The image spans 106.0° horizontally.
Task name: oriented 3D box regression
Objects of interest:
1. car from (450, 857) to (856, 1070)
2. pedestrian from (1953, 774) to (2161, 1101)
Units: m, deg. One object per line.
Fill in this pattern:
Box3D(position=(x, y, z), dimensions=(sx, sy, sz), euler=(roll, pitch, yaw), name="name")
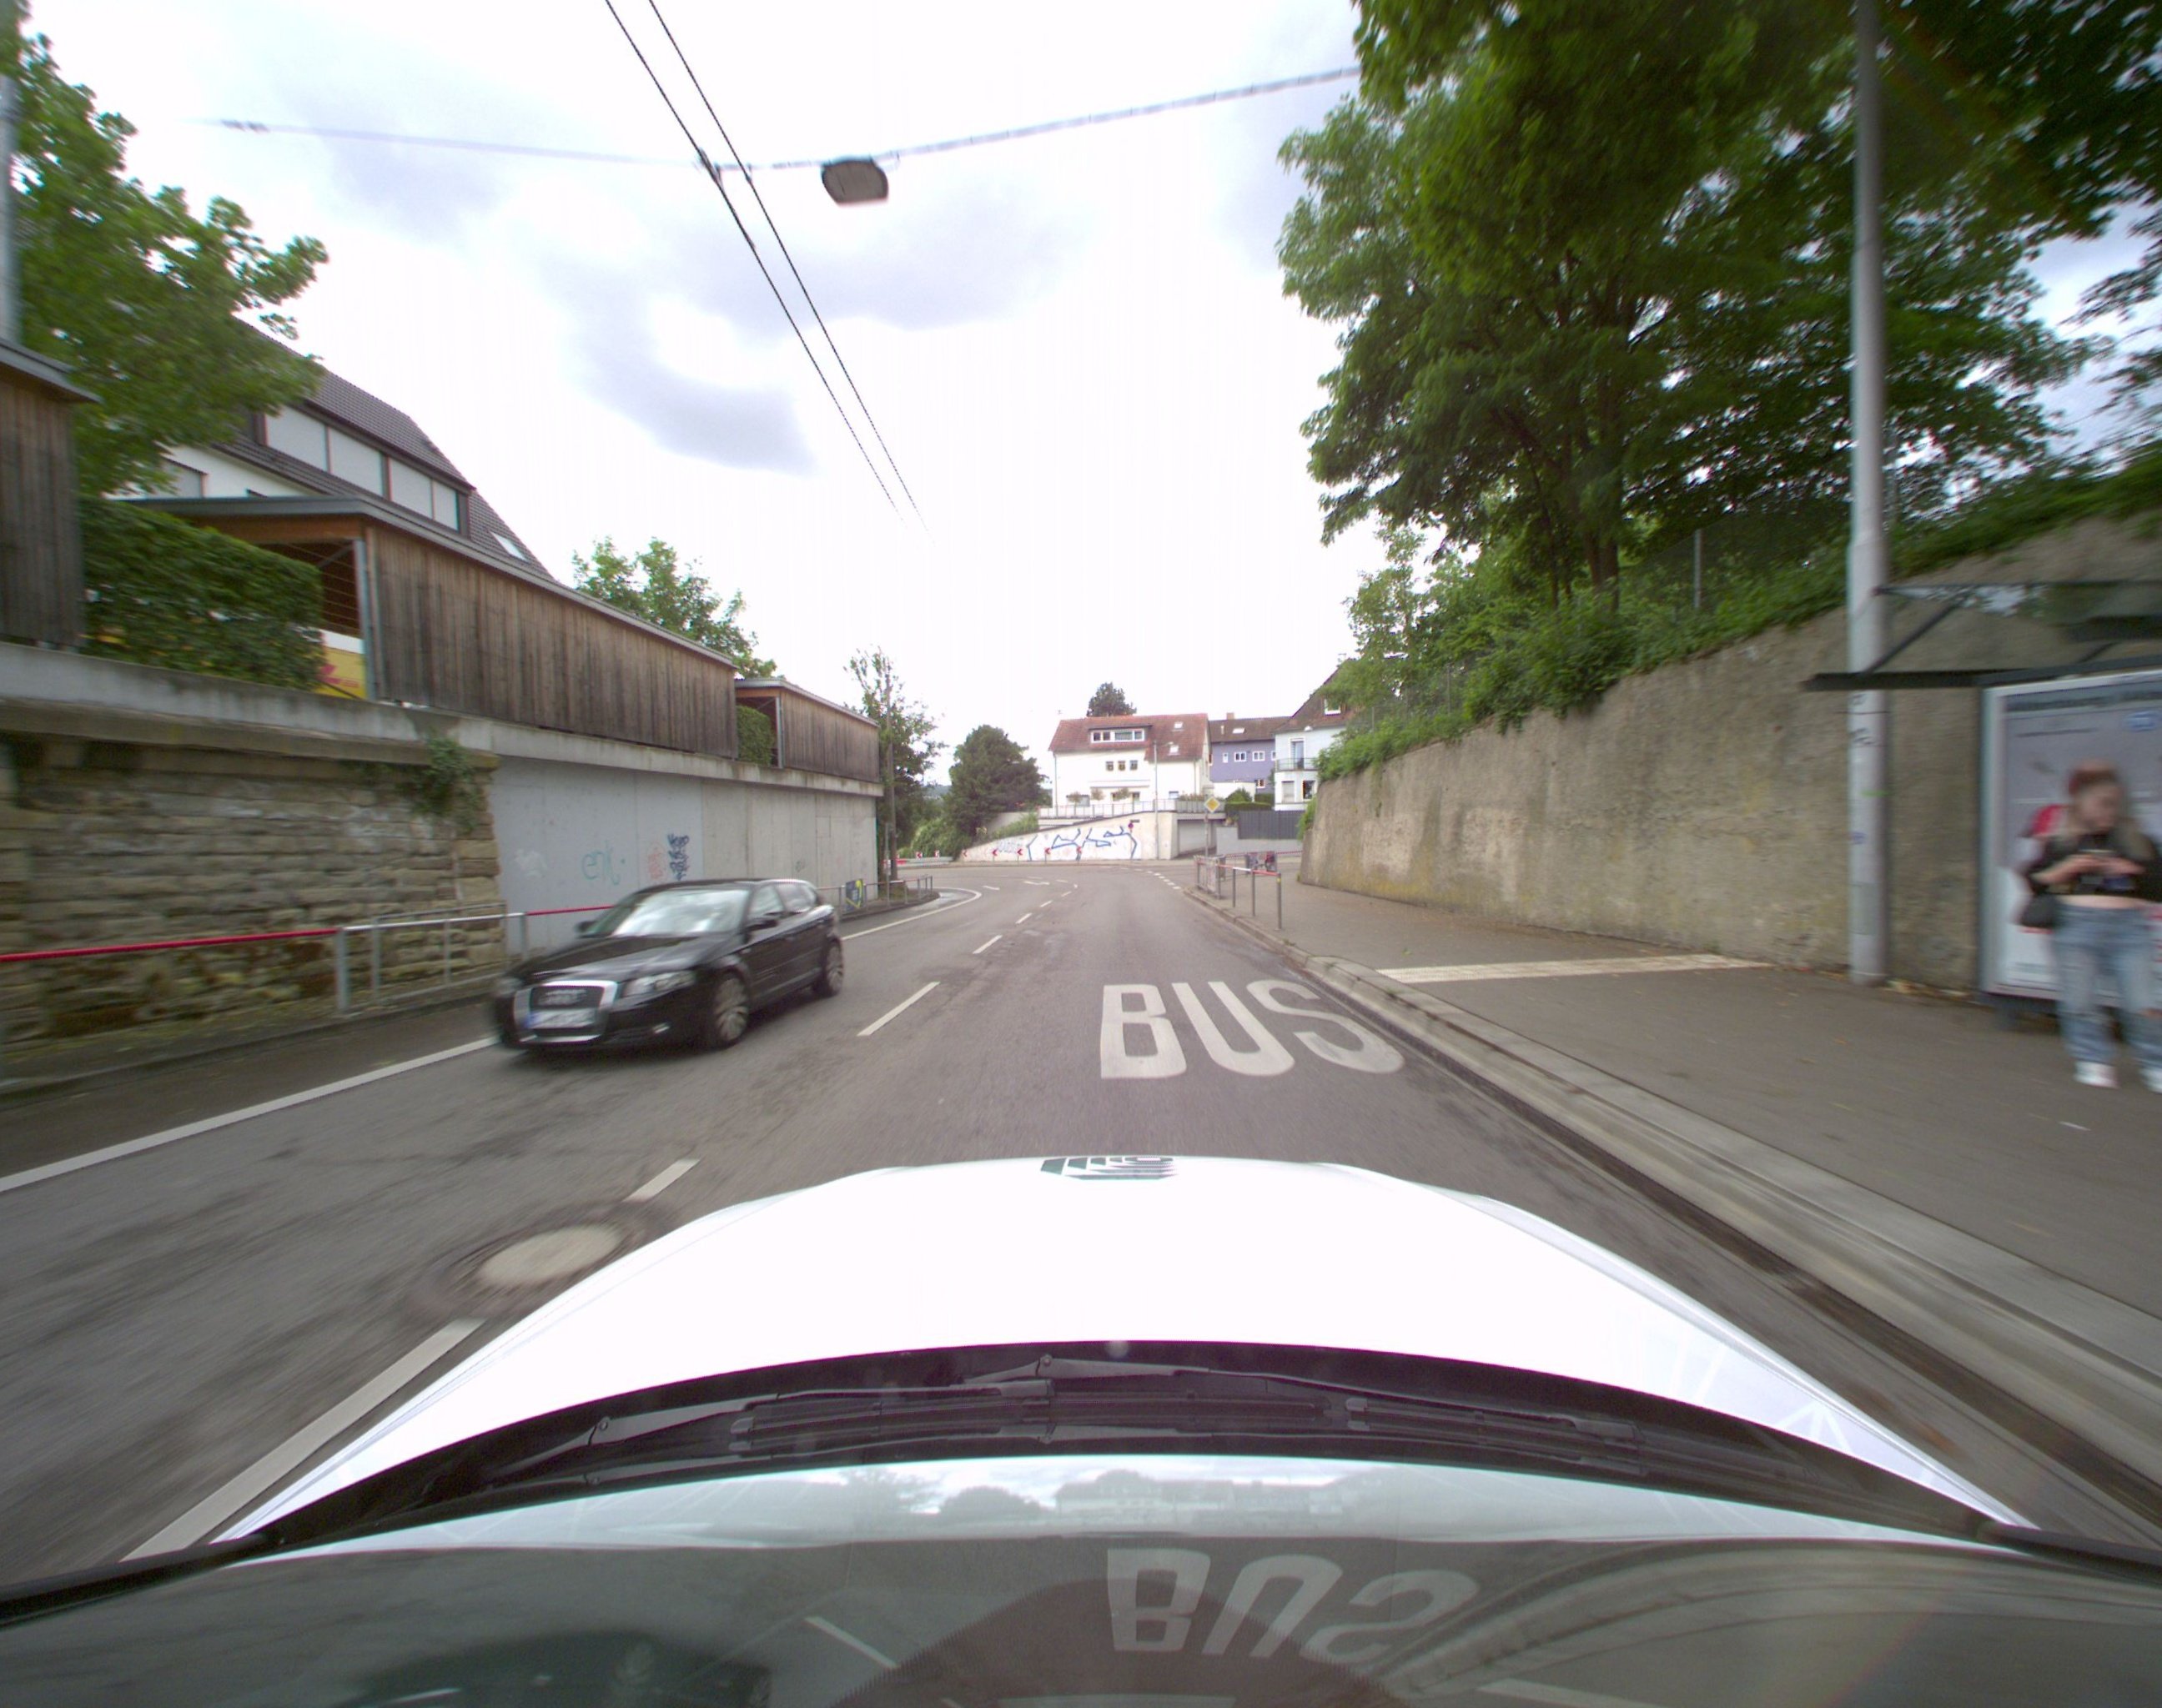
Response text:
Box3D(position=(-3.728, 0.825, 8.022), dimensions=(1.728, 1.533, 4.002), euler=(-2, -1, 2), name="car")
Box3D(position=(5.307, 0.397, 4.394), dimensions=(0.728, 1.587, 0.778), euler=(-2, 1, 43), name="pedestrian")
